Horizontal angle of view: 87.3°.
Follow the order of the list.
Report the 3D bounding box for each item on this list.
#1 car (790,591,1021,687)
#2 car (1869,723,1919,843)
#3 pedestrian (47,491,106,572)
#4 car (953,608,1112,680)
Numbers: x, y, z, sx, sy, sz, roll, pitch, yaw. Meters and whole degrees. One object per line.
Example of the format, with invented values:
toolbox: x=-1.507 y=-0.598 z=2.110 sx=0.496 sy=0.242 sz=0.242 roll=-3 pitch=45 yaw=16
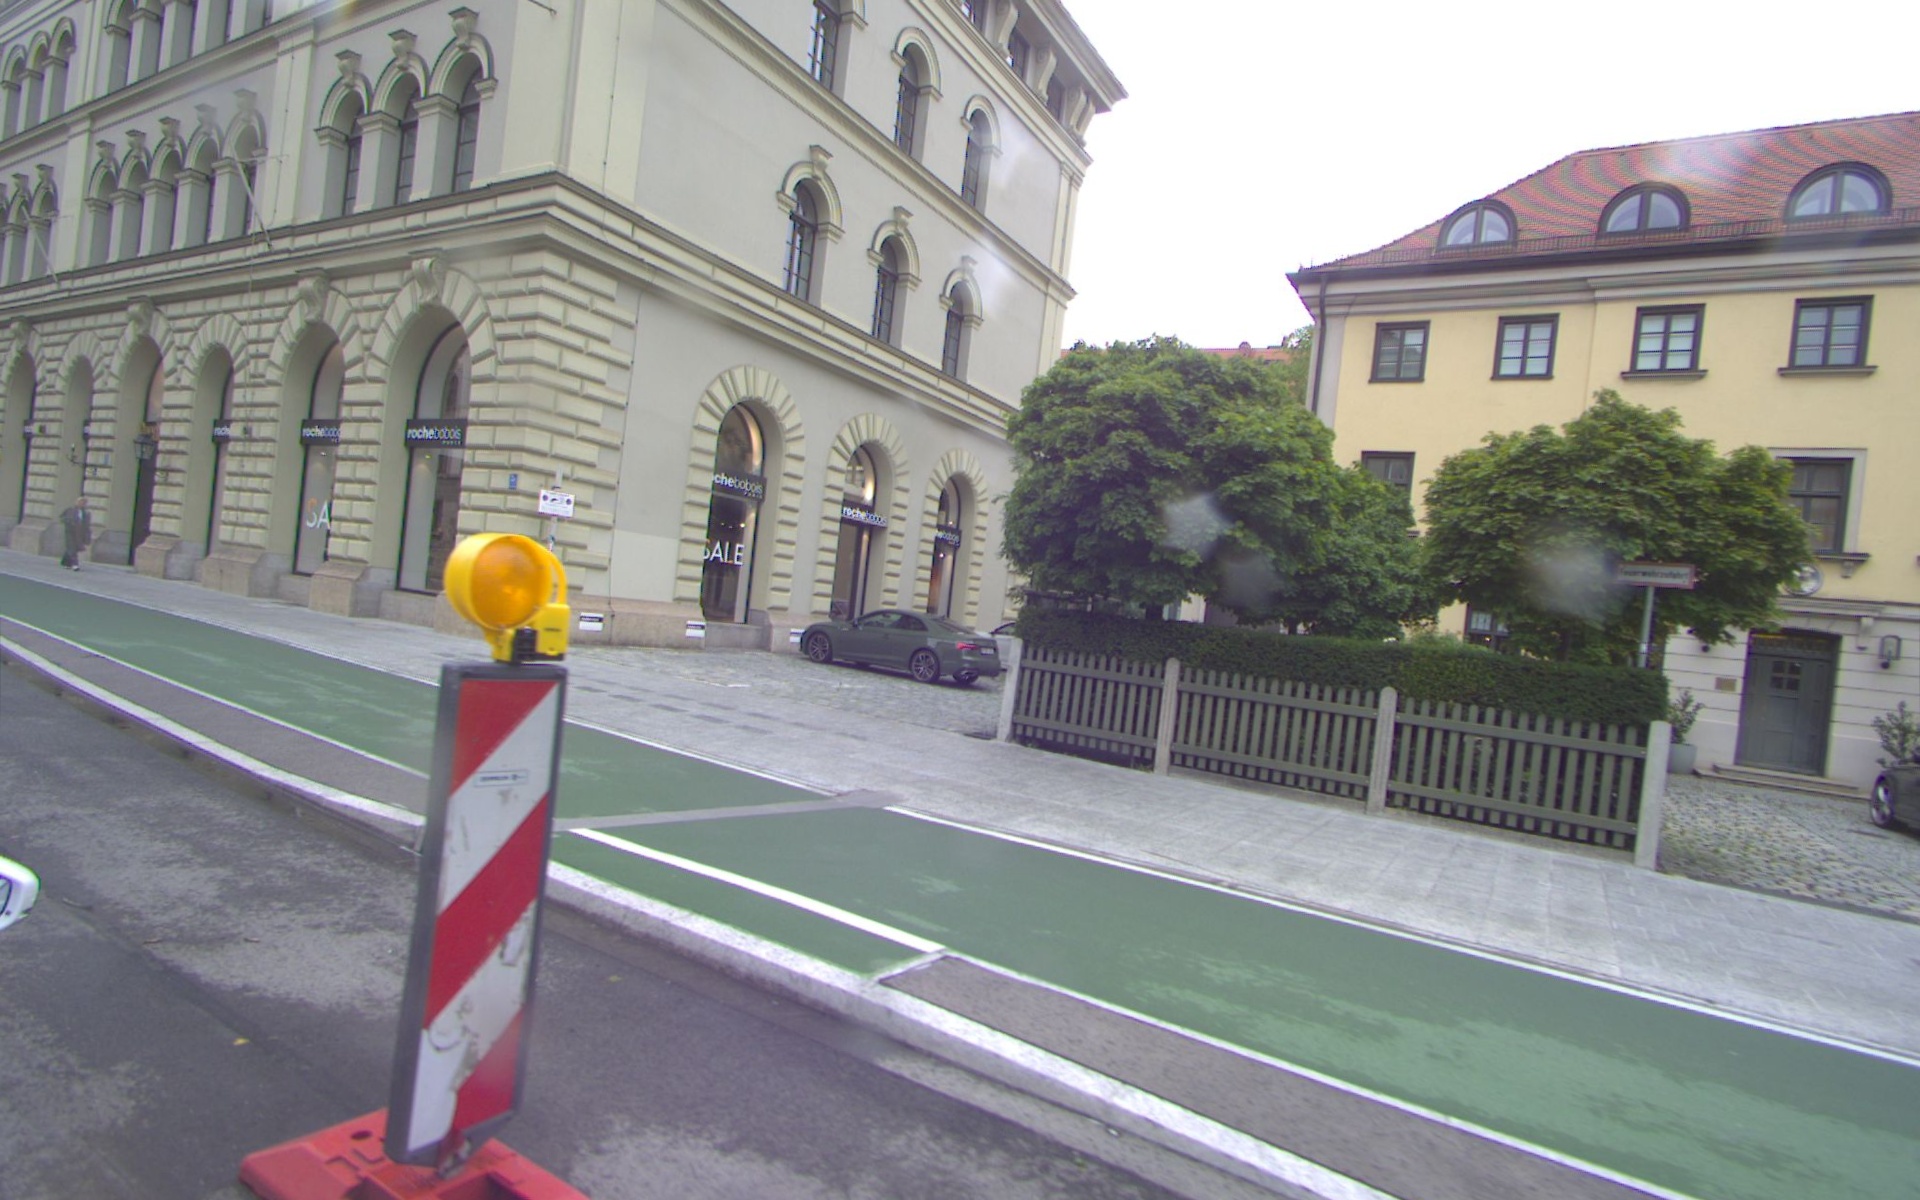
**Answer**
car: x=-1.212 y=0.818 z=21.396 sx=4.553 sy=1.443 sz=1.860 roll=7 pitch=-1 yaw=31
car: x=12.806 y=2.399 z=12.004 sx=1.824 sy=1.434 sz=4.302 roll=7 pitch=-1 yaw=29
pedestrian: x=-20.429 y=-1.578 z=23.252 sx=1.067 sy=1.726 sz=0.633 roll=7 pitch=1 yaw=31
car: x=1.931 y=1.176 z=27.127 sx=3.812 sy=1.444 sz=1.693 roll=7 pitch=0 yaw=31
